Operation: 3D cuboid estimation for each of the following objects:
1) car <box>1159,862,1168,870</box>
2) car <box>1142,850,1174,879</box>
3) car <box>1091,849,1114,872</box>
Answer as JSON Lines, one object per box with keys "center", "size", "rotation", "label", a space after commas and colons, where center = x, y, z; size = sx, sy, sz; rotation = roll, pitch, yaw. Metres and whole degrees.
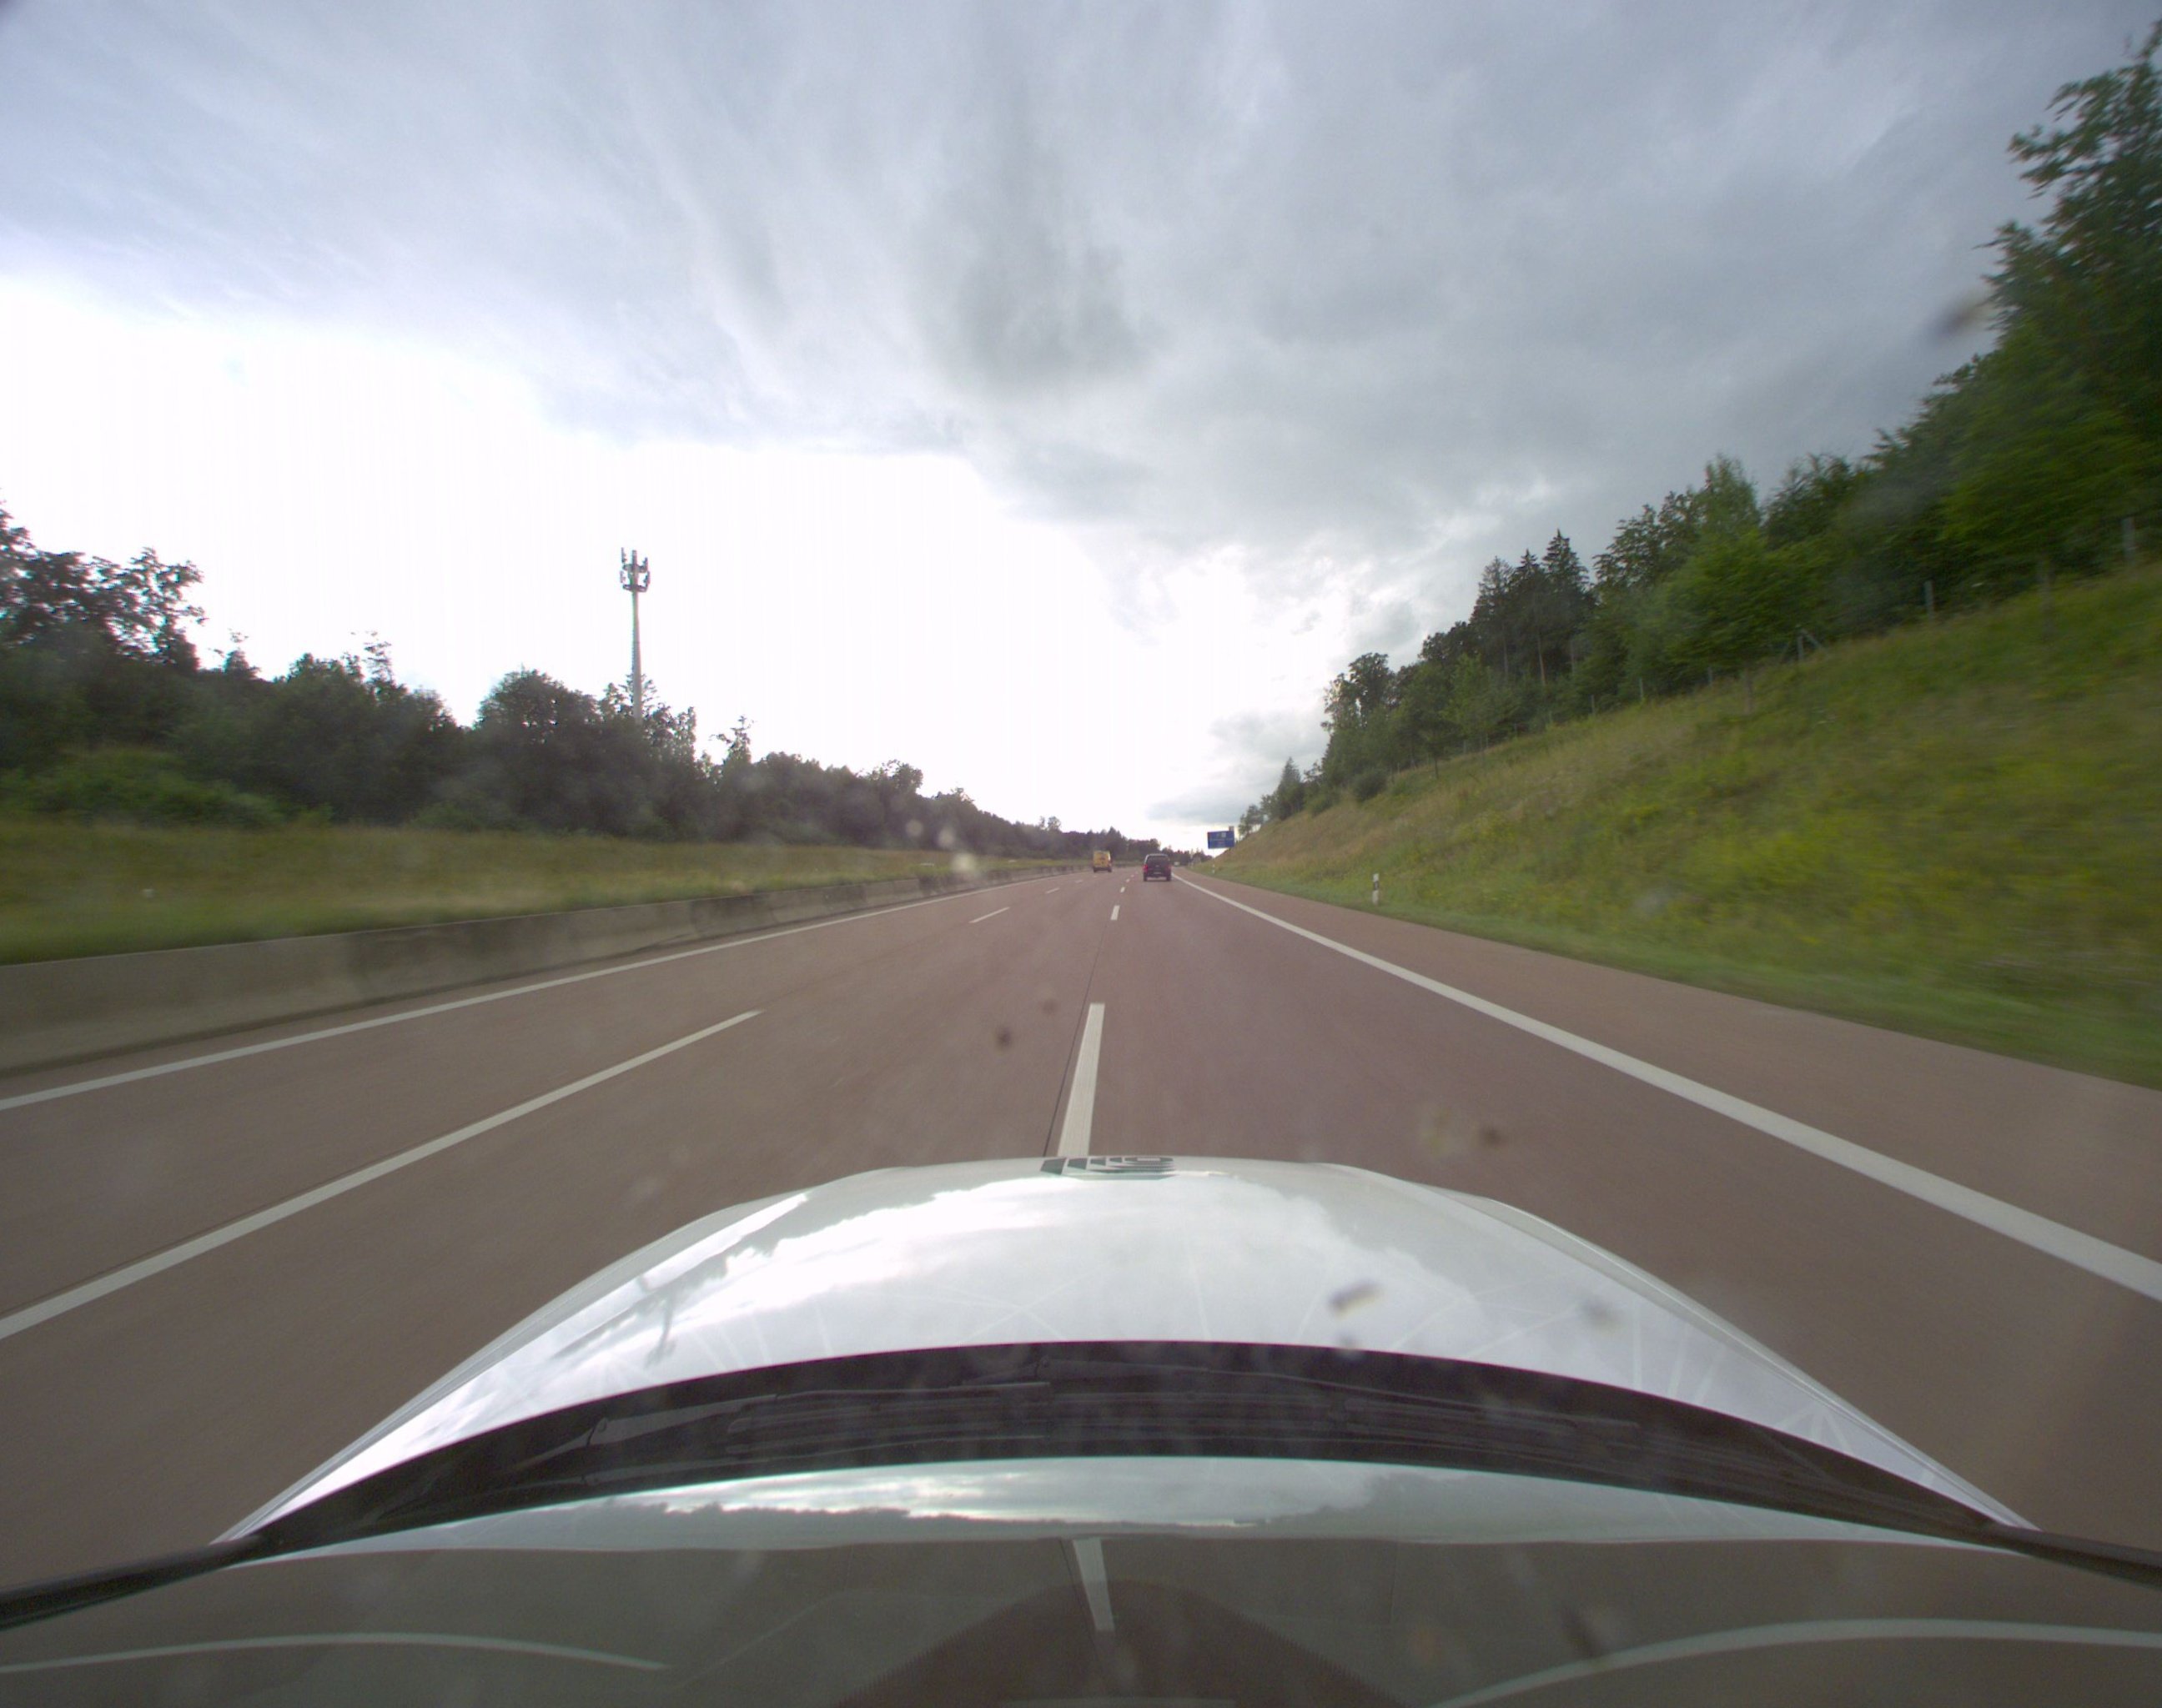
{"center": [18.200, 2.756, 180.062], "size": [1.968, 1.648, 4.625], "rotation": [-2, -2, 5], "label": "car"}
{"center": [5.335, 0.757, 56.854], "size": [2.034, 1.897, 5.584], "rotation": [-2, -2, 5], "label": "car"}
{"center": [2.776, 0.840, 103.420], "size": [2.447, 2.706, 5.621], "rotation": [-2, -2, 5], "label": "car"}
